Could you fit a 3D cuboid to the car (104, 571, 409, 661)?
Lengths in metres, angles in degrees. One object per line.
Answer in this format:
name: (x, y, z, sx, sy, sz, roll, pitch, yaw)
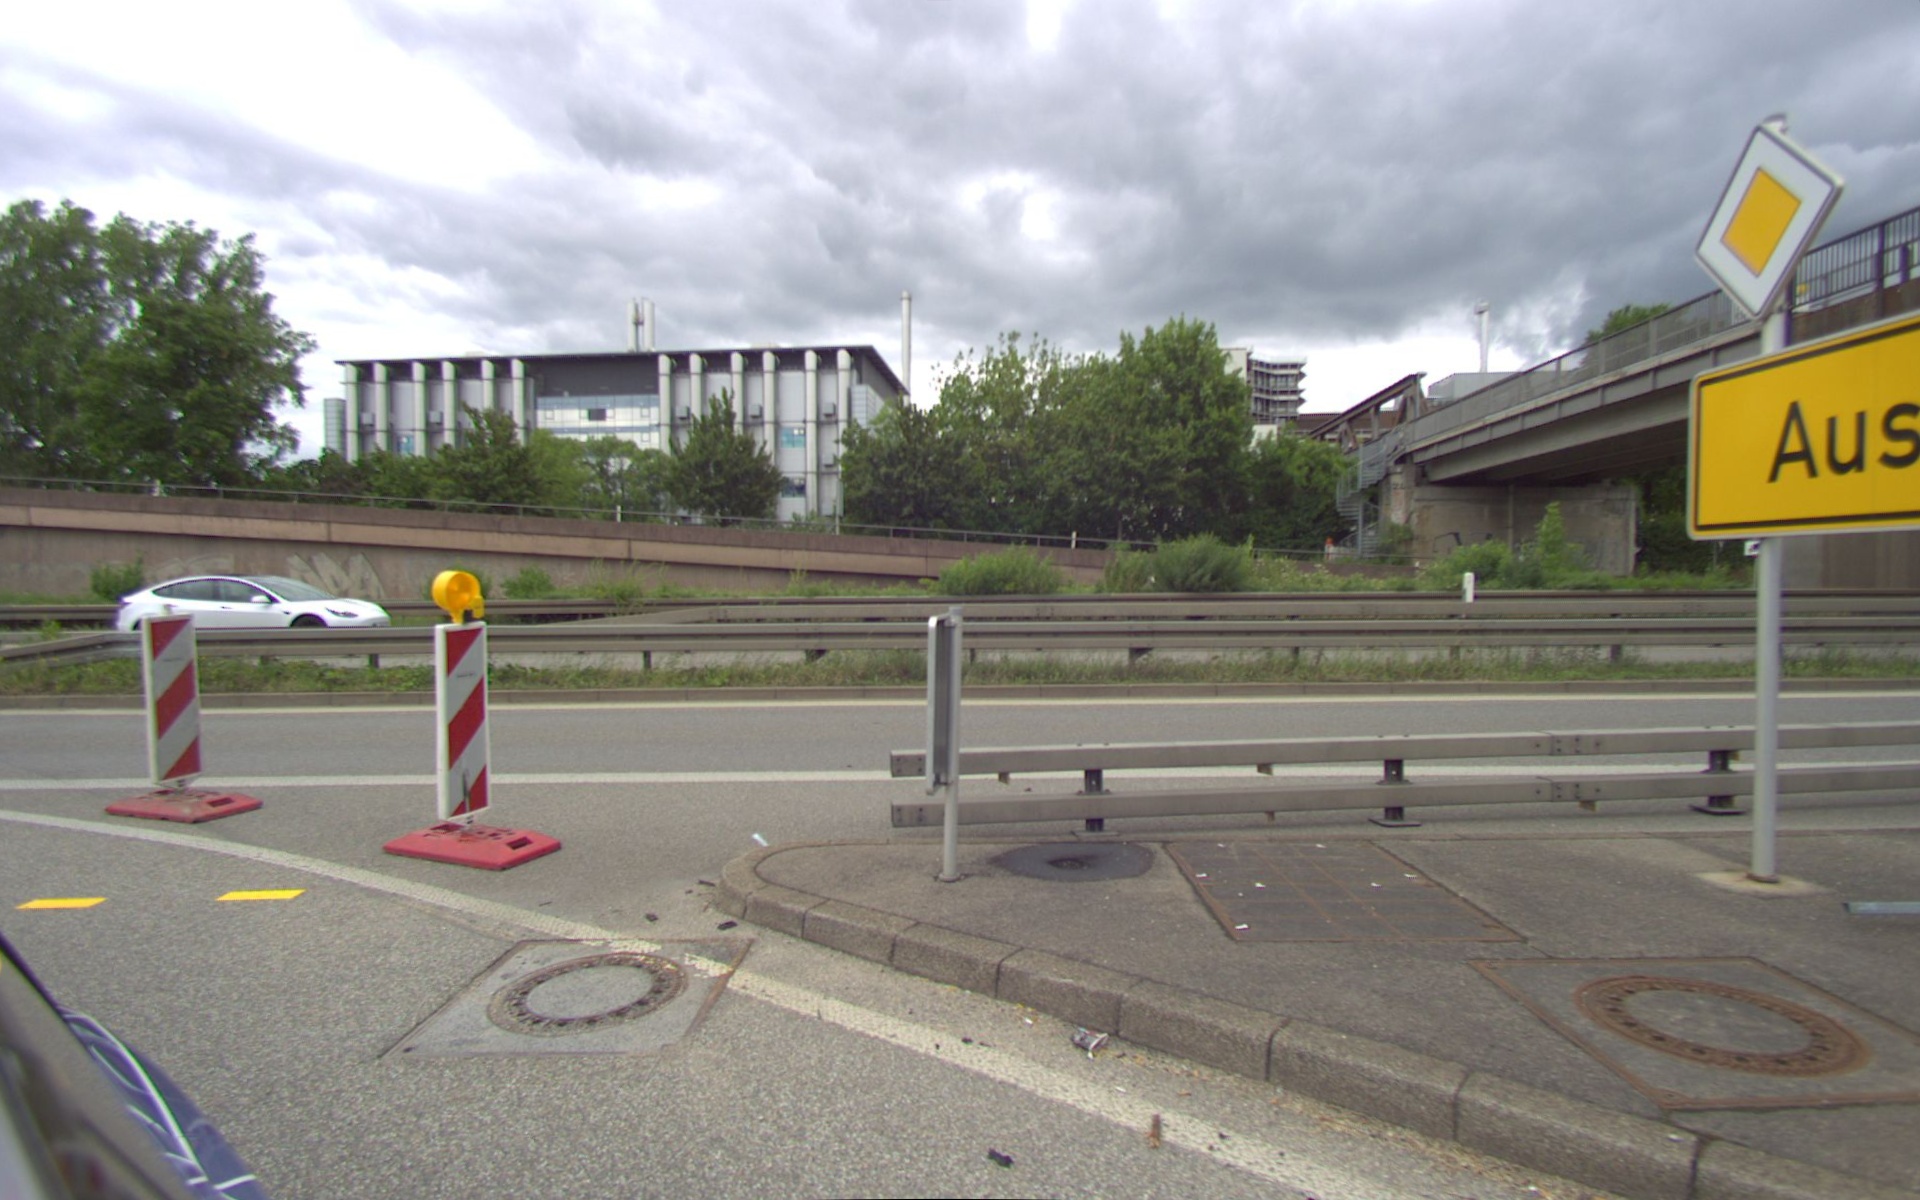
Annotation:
car: (-13.262, 0.263, 19.310, 4.396, 1.553, 2.001, -1, 2, -1)
